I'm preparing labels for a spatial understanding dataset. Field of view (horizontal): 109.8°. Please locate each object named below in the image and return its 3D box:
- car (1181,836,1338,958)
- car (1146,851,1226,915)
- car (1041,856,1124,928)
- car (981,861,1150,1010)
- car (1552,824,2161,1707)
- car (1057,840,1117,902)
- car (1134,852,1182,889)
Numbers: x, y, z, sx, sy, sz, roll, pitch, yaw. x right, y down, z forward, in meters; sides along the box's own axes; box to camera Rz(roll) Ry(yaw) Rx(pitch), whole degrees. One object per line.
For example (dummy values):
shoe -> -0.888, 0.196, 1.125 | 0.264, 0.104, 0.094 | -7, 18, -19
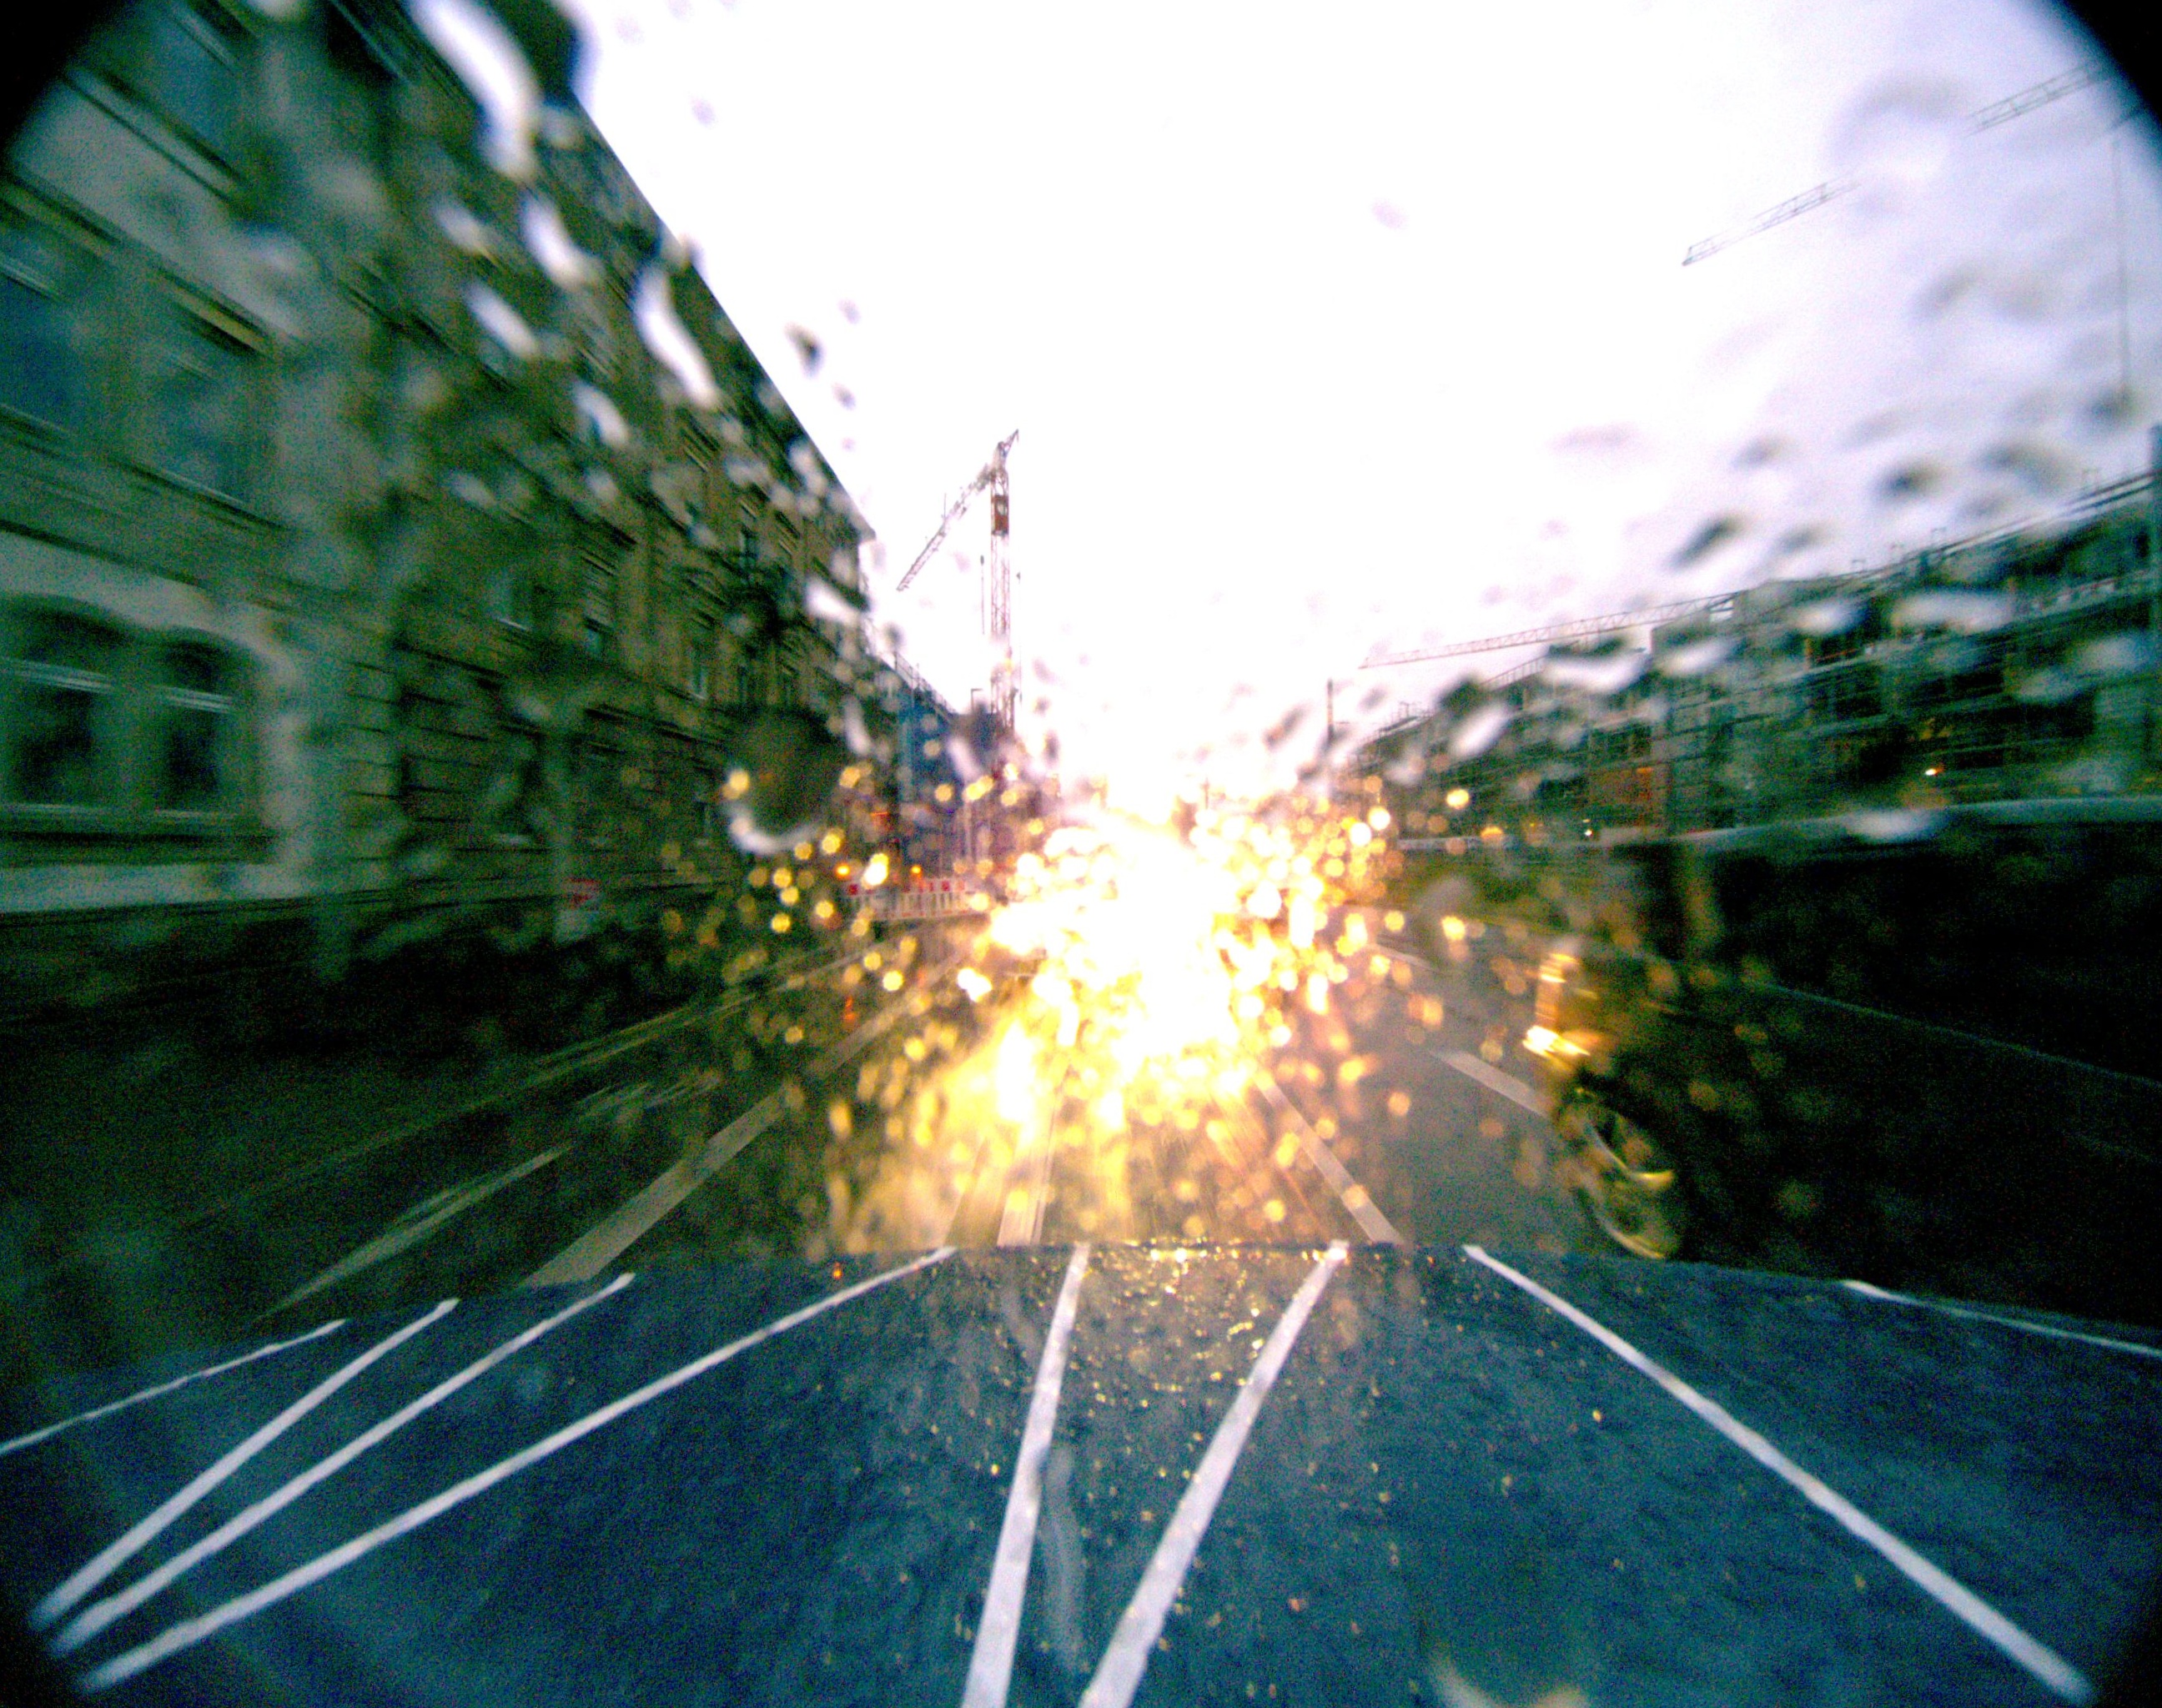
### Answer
car -> 2.882, 0.605, 13.153 | 1.858, 1.723, 4.000 | -2, 1, 2
car -> 3.065, 0.795, 23.001 | 1.844, 1.644, 4.323 | -2, 1, 1
car -> -0.013, 0.845, 18.688 | 1.764, 1.443, 3.999 | -2, 1, -1
car -> -0.199, 0.897, 10.183 | 1.764, 1.443, 3.999 | -2, 1, -1
car -> 2.614, 0.753, 0.803 | 1.764, 1.584, 3.999 | -2, 1, 1
car -> 0.159, 0.523, 26.266 | 1.858, 1.886, 3.999 | -2, 1, -1
car -> 3.585, 0.741, 36.191 | 1.844, 1.547, 3.999 | -2, 1, 0
